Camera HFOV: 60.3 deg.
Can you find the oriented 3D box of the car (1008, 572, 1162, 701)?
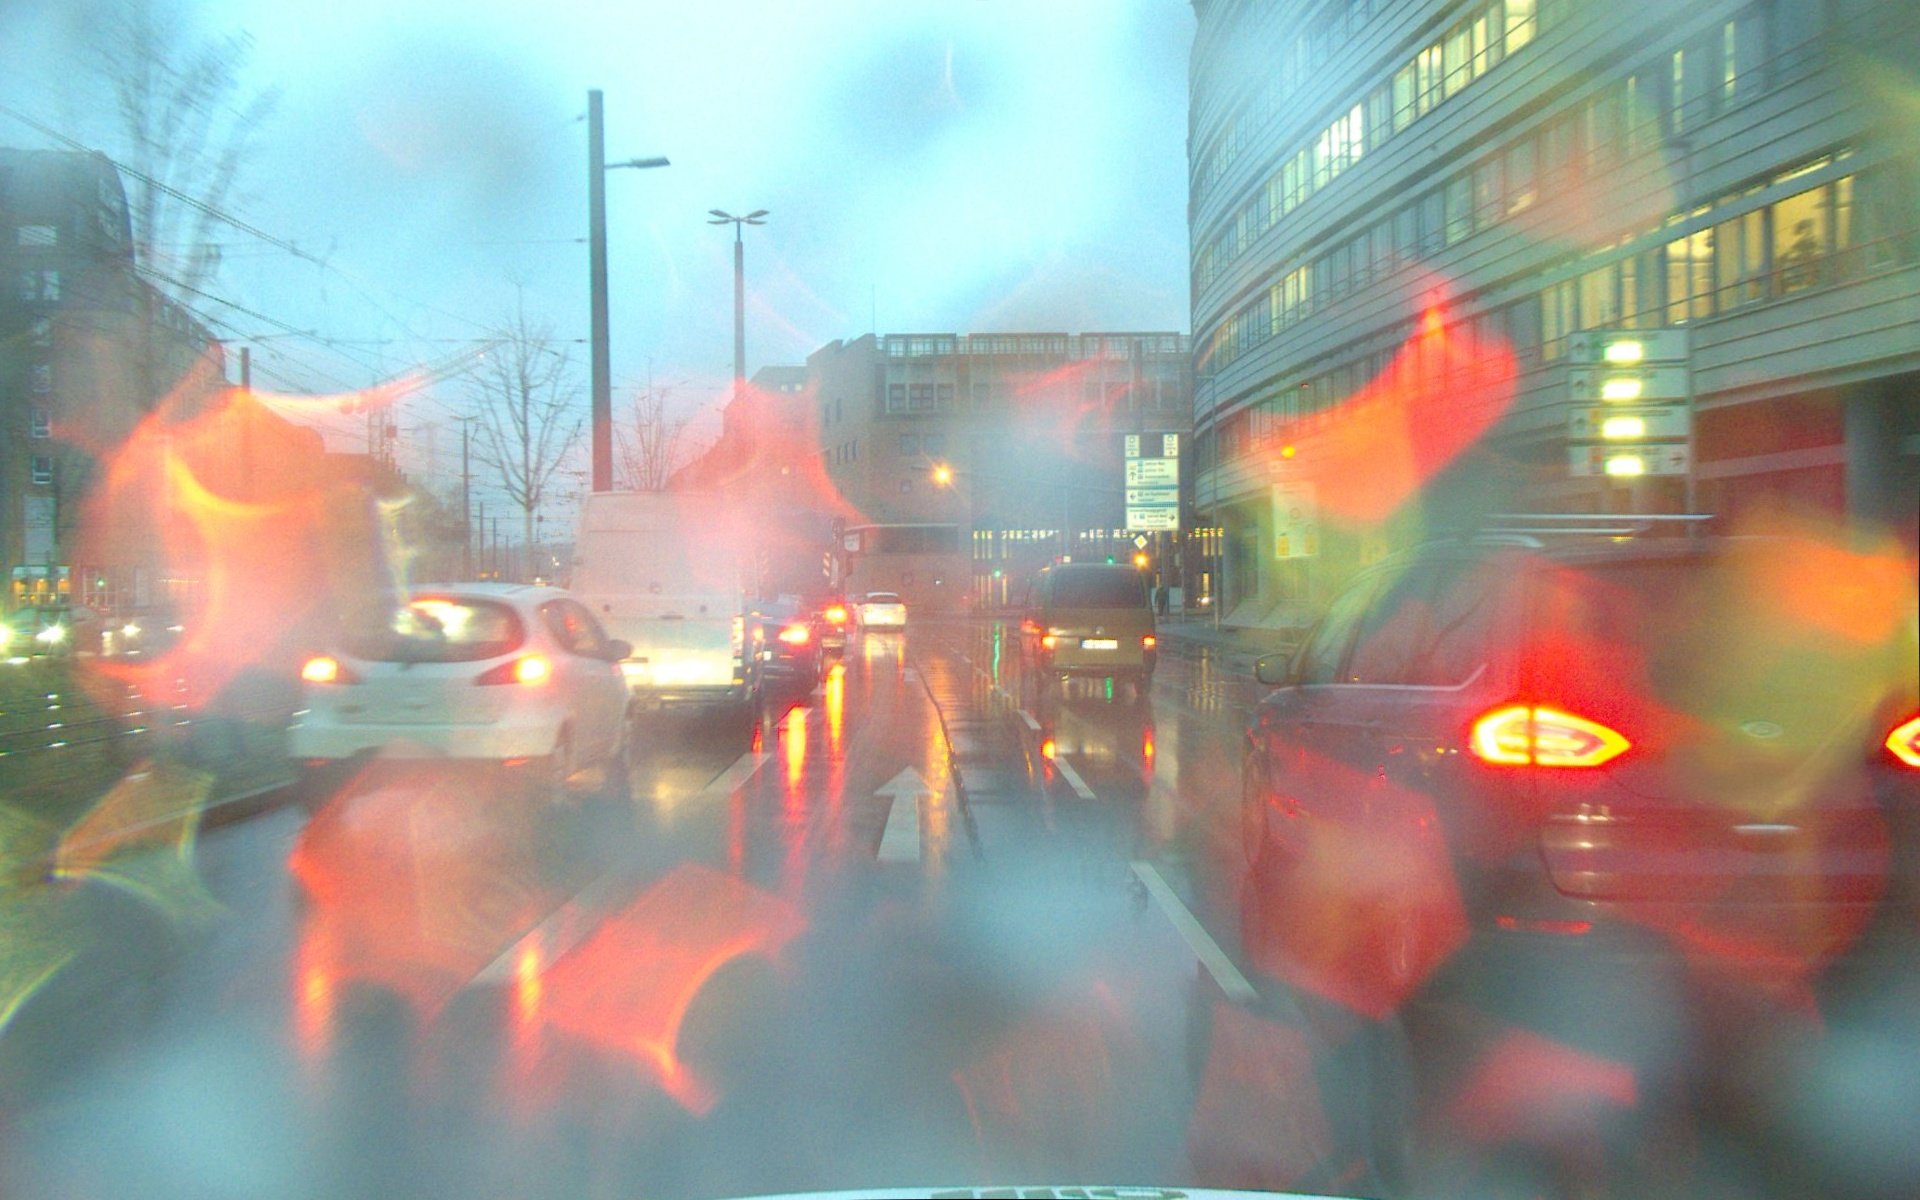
[{"bbox_3d":[1.871,0.513,26.084,1.807,1.837,4.483,-1,0,-4],"label":"car"}]

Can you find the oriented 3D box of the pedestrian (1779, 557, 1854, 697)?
[{"bbox_3d":[10.731,0.329,20.730,0.520,1.712,0.744,-1,0,-2],"label":"pedestrian"}]

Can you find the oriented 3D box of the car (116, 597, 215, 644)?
[{"bbox_3d":[-26.231,0.662,54.723,1.599,1.475,3.620,-1,0,-2],"label":"car"}]

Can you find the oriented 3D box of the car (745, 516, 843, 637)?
[{"bbox_3d":[-4.204,-0.572,42.781,2.309,2.876,6.353,-1,0,-4],"label":"car"}]

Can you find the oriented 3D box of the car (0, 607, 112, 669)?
[{"bbox_3d":[-23.458,0.930,42.019,1.955,1.475,4.309,-1,0,-6],"label":"car"}]

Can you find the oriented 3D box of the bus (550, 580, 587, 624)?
[{"bbox_3d":[-31.696,0.151,133.725,2.776,3.431,7.969,-1,0,-14],"label":"bus"}]

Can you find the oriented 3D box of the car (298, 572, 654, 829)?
[{"bbox_3d":[-3.250,0.579,11.803,1.606,1.522,3.683,-1,1,-3],"label":"car"}]

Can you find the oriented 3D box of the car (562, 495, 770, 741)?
[{"bbox_3d":[-3.325,0.175,19.784,1.955,2.470,5.967,-1,0,-6],"label":"car"}]

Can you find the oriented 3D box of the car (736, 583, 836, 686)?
[{"bbox_3d":[-2.785,0.539,26.833,1.488,1.547,3.466,-1,-1,-5],"label":"car"}]

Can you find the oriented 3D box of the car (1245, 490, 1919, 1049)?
[{"bbox_3d":[2.461,0.552,7.414,1.640,1.811,4.000,1,0,0],"label":"car"}]

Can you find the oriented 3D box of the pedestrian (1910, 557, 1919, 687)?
[{"bbox_3d":[12.525,0.278,20.701,0.711,1.653,0.902,-1,0,-2],"label":"pedestrian"}]

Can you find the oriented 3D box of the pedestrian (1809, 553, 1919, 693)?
[{"bbox_3d":[11.410,0.282,20.910,0.777,1.715,1.068,-1,0,-2],"label":"pedestrian"}]

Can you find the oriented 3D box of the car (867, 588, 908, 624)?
[{"bbox_3d":[-2.785,0.219,64.072,1.481,1.328,3.040,-1,0,-1],"label":"car"}]

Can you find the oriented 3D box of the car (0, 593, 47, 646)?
[{"bbox_3d":[-31.792,0.644,54.382,1.599,1.721,3.620,-1,0,-2],"label":"car"}]

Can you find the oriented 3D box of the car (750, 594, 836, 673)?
[{"bbox_3d":[-3.428,0.649,34.261,1.671,1.535,3.996,0,0,-5],"label":"car"}]
